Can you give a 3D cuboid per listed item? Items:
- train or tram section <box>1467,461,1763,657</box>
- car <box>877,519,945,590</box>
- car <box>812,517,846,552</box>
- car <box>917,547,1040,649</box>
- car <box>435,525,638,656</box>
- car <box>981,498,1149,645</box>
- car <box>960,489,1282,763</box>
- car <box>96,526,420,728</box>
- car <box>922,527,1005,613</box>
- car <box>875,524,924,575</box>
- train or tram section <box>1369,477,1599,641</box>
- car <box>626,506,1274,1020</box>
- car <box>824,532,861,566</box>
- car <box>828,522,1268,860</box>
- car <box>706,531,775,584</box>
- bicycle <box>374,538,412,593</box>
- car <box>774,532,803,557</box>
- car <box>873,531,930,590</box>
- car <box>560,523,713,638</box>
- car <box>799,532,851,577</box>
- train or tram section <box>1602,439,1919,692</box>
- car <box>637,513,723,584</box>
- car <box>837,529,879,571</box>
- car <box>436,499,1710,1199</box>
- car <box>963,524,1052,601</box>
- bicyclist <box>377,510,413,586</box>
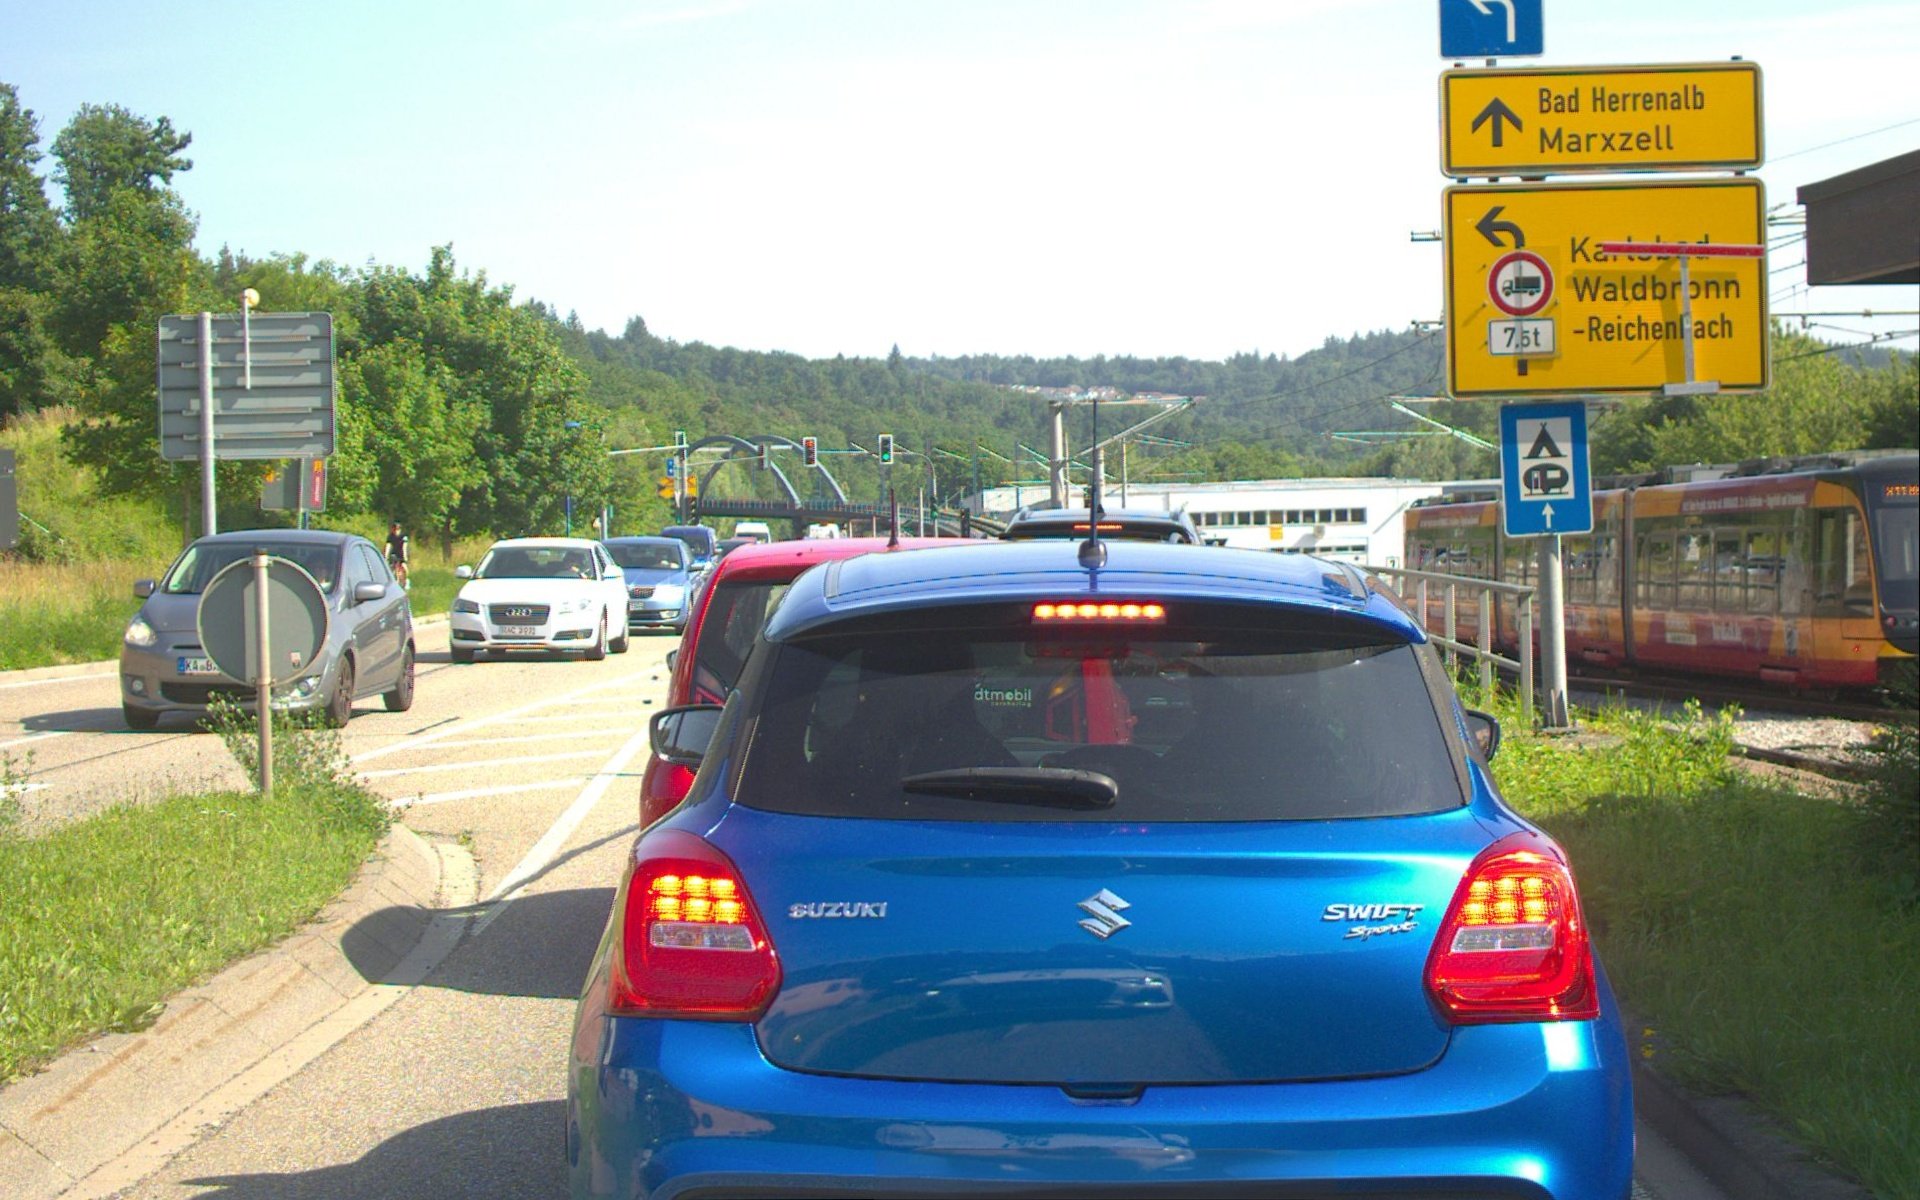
[{"bbox_3d":[12.301,-0.800,65.943,2.786,3.353,12.049,1,1,-3],"label":"train or tram section"},{"bbox_3d":[-1.484,-1.425,105.087,1.993,2.006,4.001,2,2,-1],"label":"car"},{"bbox_3d":[-8.245,-4.103,216.417,1.993,2.137,4.720,1,1,-1],"label":"car"},{"bbox_3d":[0.328,-0.064,54.608,1.832,1.426,3.811,2,2,1],"label":"car"},{"bbox_3d":[-4.946,-0.149,40.604,1.832,1.364,3.950,1,2,1],"label":"car"},{"bbox_3d":[1.318,-0.395,43.984,1.993,1.730,4.000,2,1,1],"label":"car"},{"bbox_3d":[1.058,0.114,24.078,1.993,1.681,4.497,2,1,1],"label":"car"},{"bbox_3d":[-5.364,0.165,26.719,1.672,1.436,3.840,1,1,1],"label":"car"},{"bbox_3d":[0.068,-0.776,87.298,1.993,2.006,4.001,2,2,-1],"label":"car"},{"bbox_3d":[-2.592,-2.176,147.549,1.993,2.006,4.001,2,2,-1],"label":"car"},{"bbox_3d":[11.692,-1.028,77.972,2.755,3.352,12.050,1,2,-3],"label":"train or tram section"},{"bbox_3d":[-0.001,0.477,12.728,1.993,1.566,4.000,1,1,1],"label":"car"},{"bbox_3d":[-6.710,-2.922,196.377,1.993,1.810,4.001,2,2,-1],"label":"car"},{"bbox_3d":[0.439,0.365,17.996,1.993,1.526,4.602,-1,1,1],"label":"car"},{"bbox_3d":[-6.545,-1.289,102.803,1.832,1.426,3.811,2,2,-1],"label":"car"},{"bbox_3d":[-11.395,-0.705,69.116,0.566,1.039,1.552,2,2,-3],"label":"bicycle"},{"bbox_3d":[-12.843,-4.170,257.666,1.993,1.733,4.001,2,2,-1],"label":"car"},{"bbox_3d":[-2.138,-1.476,126.625,1.993,2.006,4.001,2,2,-1],"label":"car"},{"bbox_3d":[-4.807,-0.323,51.488,1.832,1.463,3.811,2,3,1],"label":"car"},{"bbox_3d":[-5.484,-1.855,140.141,1.993,1.777,4.000,1,1,-1],"label":"car"},{"bbox_3d":[13.119,-0.595,52.906,2.855,3.353,14.357,0,1,-4],"label":"train or tram section"},{"bbox_3d":[-7.278,-1.373,89.705,1.832,1.707,3.811,2,2,1],"label":"car"},{"bbox_3d":[-5.134,-2.534,173.287,1.993,2.006,4.001,2,2,-1],"label":"car"},{"bbox_3d":[0.121,0.584,7.059,1.868,1.543,4.000,0,1,-1],"label":"car"},{"bbox_3d":[1.040,-0.834,74.020,1.832,1.488,3.811,2,2,1],"label":"car"},{"bbox_3d":[-11.354,-1.047,69.057,0.629,1.502,0.506,2,2,-3],"label":"bicyclist"}]
